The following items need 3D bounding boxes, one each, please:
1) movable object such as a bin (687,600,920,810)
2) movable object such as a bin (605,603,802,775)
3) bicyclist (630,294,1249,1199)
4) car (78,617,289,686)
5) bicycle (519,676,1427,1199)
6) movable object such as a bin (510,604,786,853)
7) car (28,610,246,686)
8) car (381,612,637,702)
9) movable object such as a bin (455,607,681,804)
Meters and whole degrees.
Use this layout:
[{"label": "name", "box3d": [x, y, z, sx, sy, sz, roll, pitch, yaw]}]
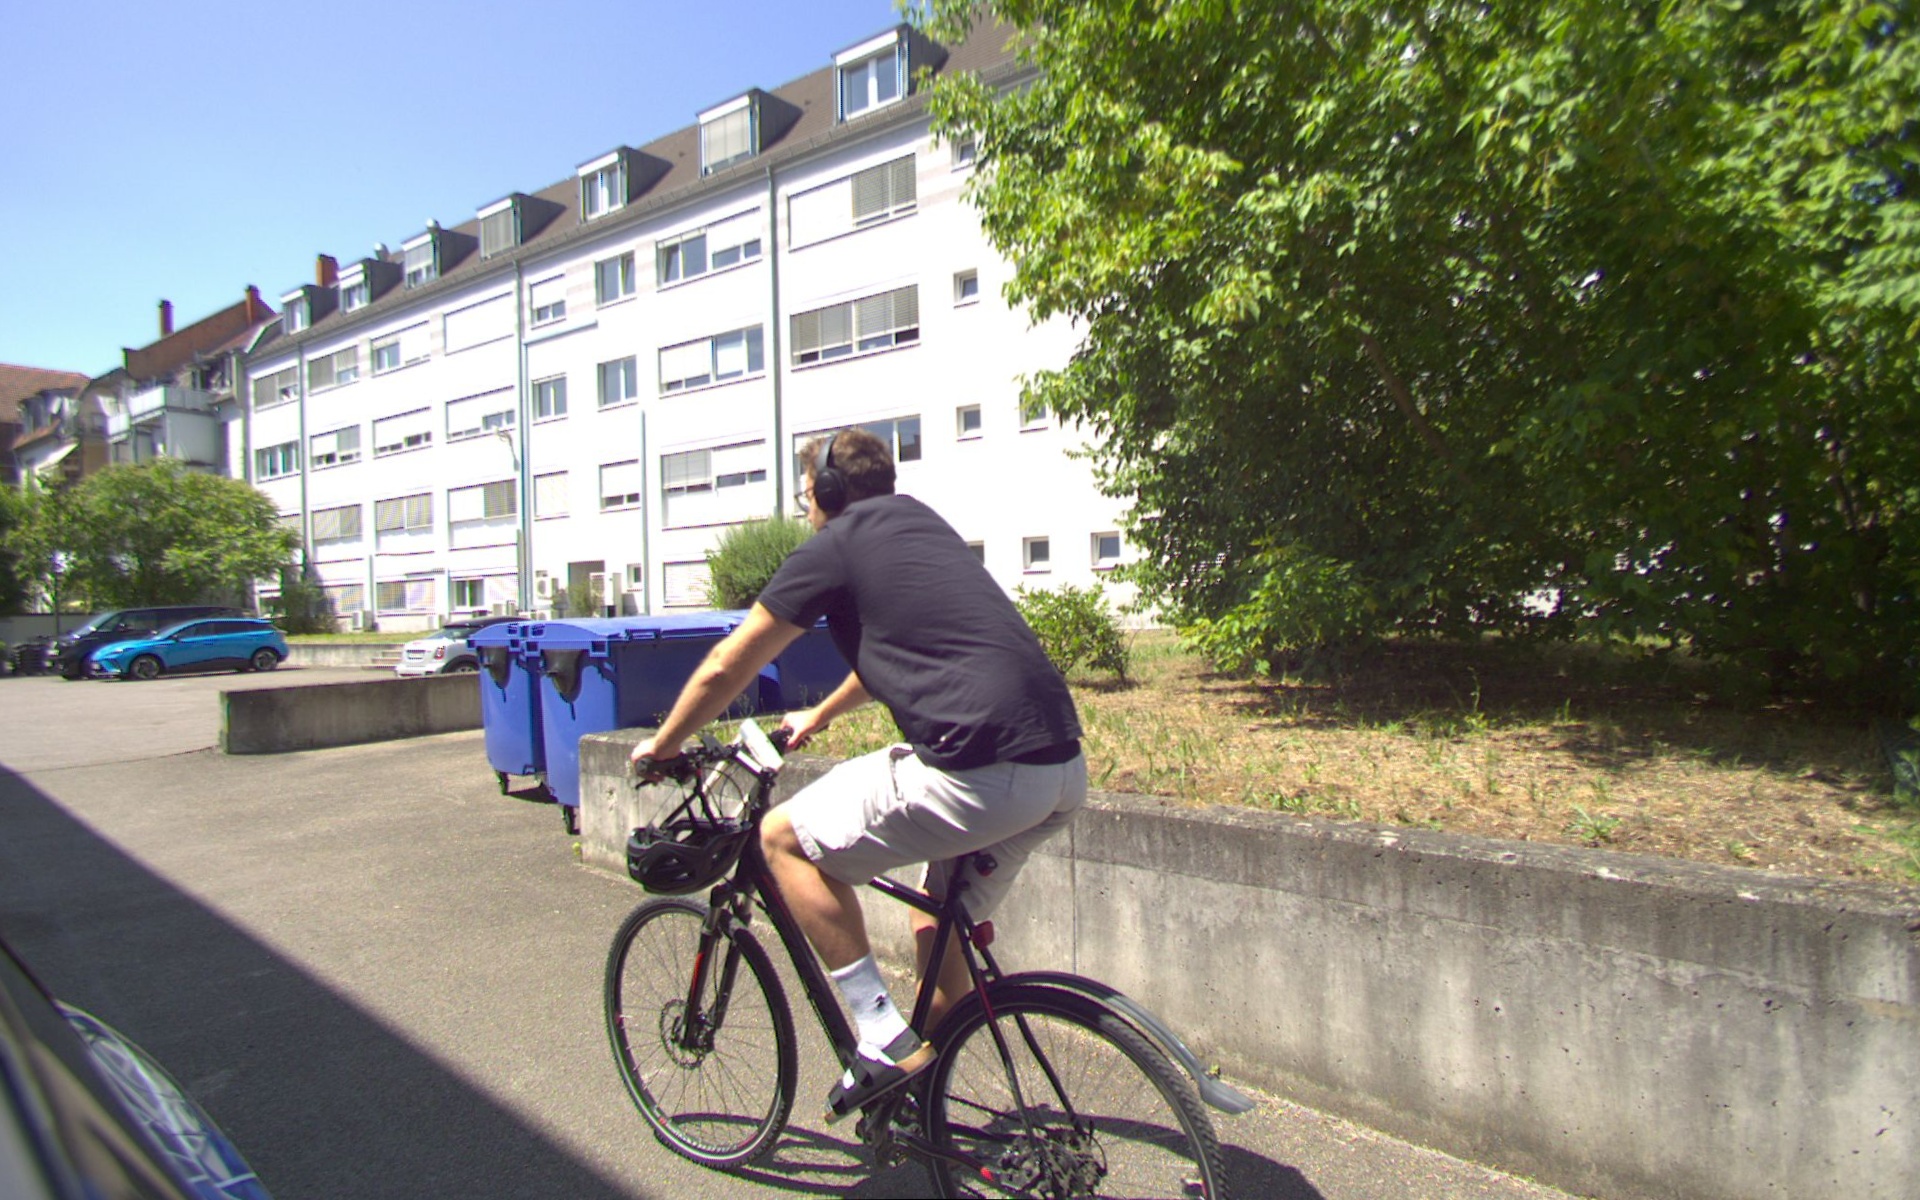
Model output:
[{"label": "movable object such as a bin", "box3d": [-1.130, 0.693, 7.395, 1.103, 1.338, 1.241, -2, 0, 40]}, {"label": "movable object such as a bin", "box3d": [-2.240, 0.725, 8.891, 1.103, 1.338, 1.241, -2, 0, 40]}, {"label": "bicyclist", "box3d": [-0.056, 0.378, 2.032, 0.977, 1.621, 0.715, -2, 0, 41]}, {"label": "car", "box3d": [-20.664, 1.314, 27.076, 1.855, 1.565, 4.120, -2, 0, 35]}, {"label": "bicycle", "box3d": [-0.140, 0.794, 2.095, 1.903, 1.183, 0.637, -2, -1, 41]}, {"label": "movable object such as a bin", "box3d": [-1.955, 0.718, 6.381, 1.103, 1.338, 1.241, -2, 0, 40]}, {"label": "car", "box3d": [-22.936, 1.262, 28.350, 1.997, 1.846, 4.396, -1, 0, 37]}, {"label": "car", "box3d": [-8.087, 0.958, 18.449, 1.708, 1.447, 3.951, -2, -1, 36]}, {"label": "movable object such as a bin", "box3d": [-3.034, 0.749, 7.865, 1.103, 1.338, 1.241, -2, 0, 40]}]
